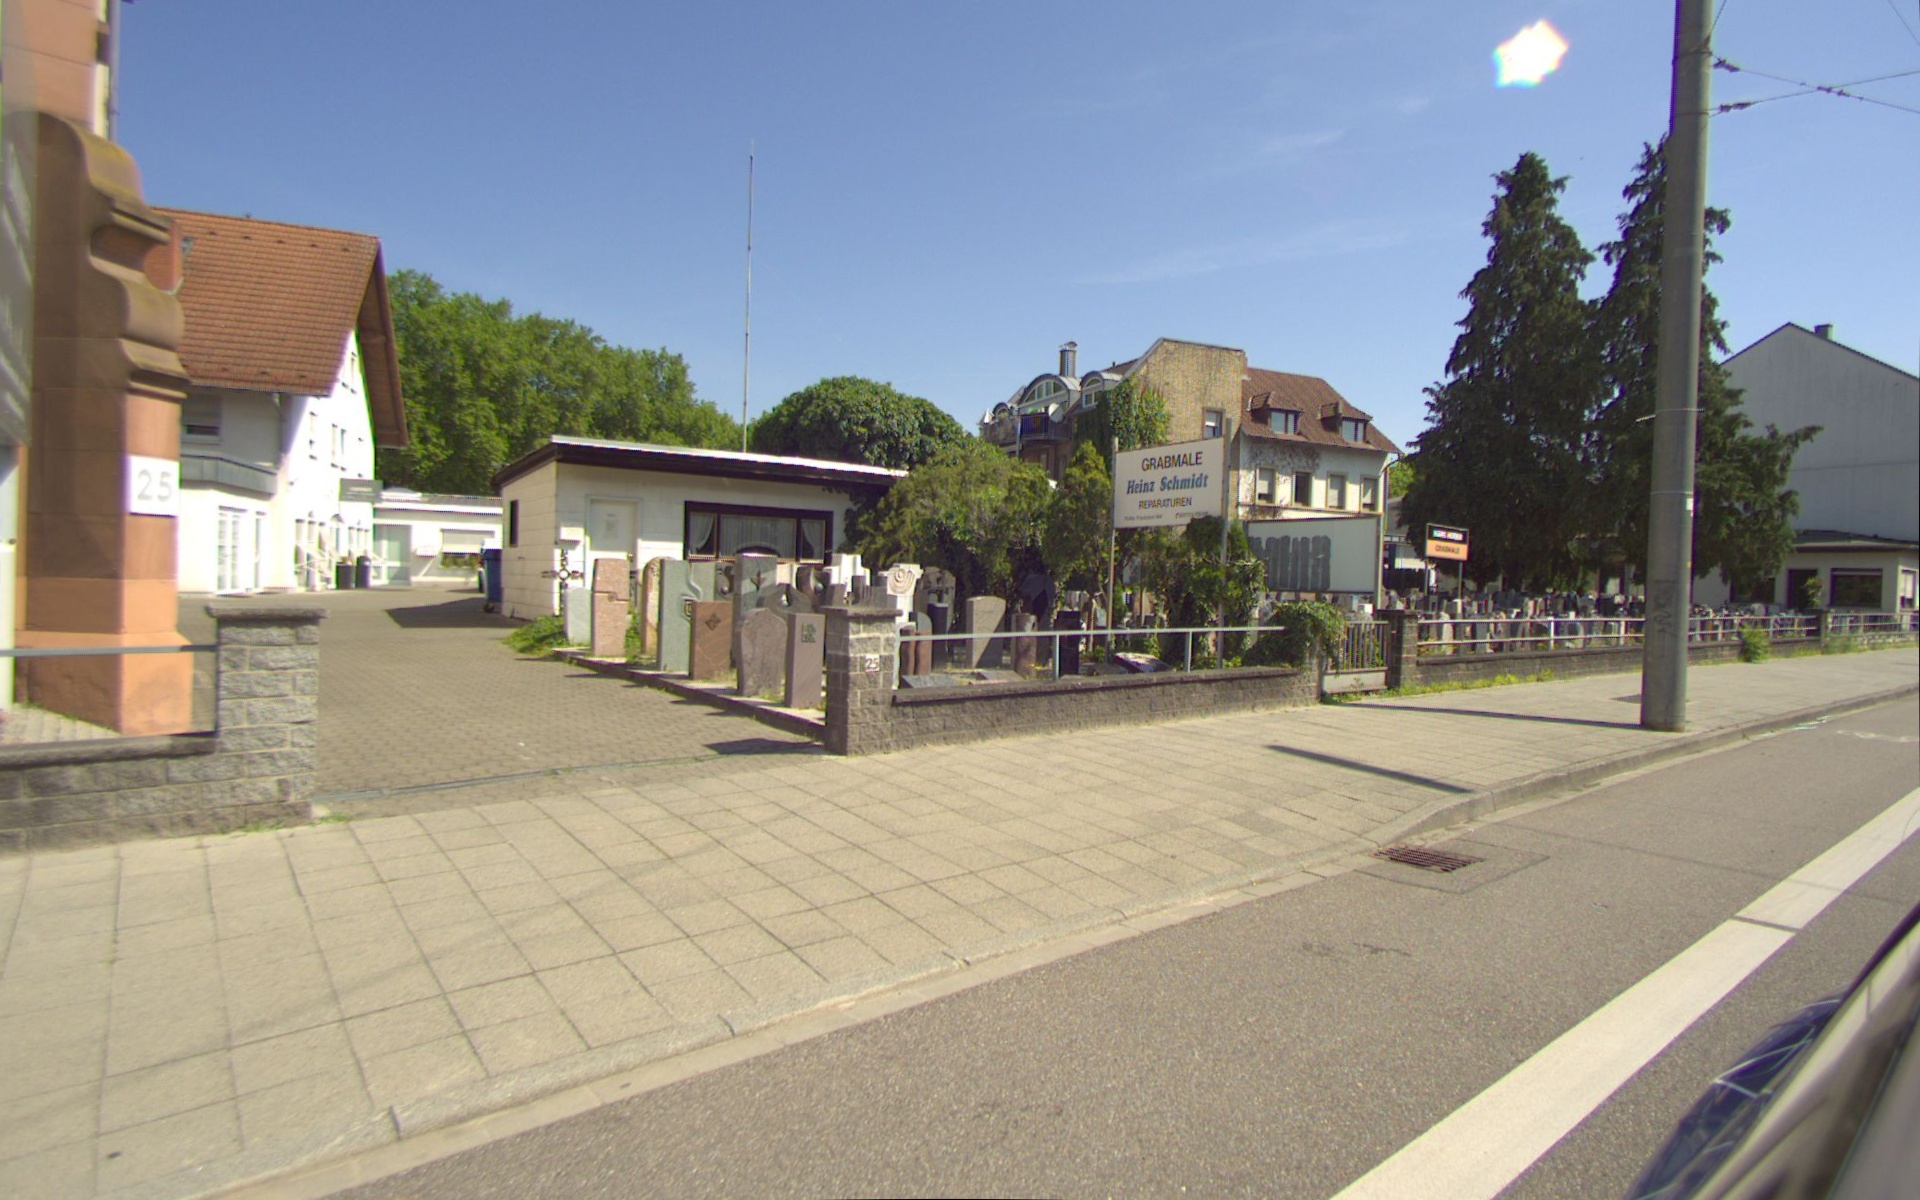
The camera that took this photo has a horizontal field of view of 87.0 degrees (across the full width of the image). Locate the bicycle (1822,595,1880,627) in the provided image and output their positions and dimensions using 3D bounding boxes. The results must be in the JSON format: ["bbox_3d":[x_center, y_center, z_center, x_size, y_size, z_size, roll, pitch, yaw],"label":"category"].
[{"bbox_3d":[34.501,0.423,39.213,0.504,1.124,1.694,2,2,-12],"label":"bicycle"}]

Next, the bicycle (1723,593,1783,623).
[{"bbox_3d":[32.315,0.314,41.254,0.502,1.124,1.800,2,2,-32],"label":"bicycle"}]

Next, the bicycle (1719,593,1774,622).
[{"bbox_3d":[32.848,0.297,42.280,0.502,1.124,1.691,2,2,-35],"label":"bicycle"}]
